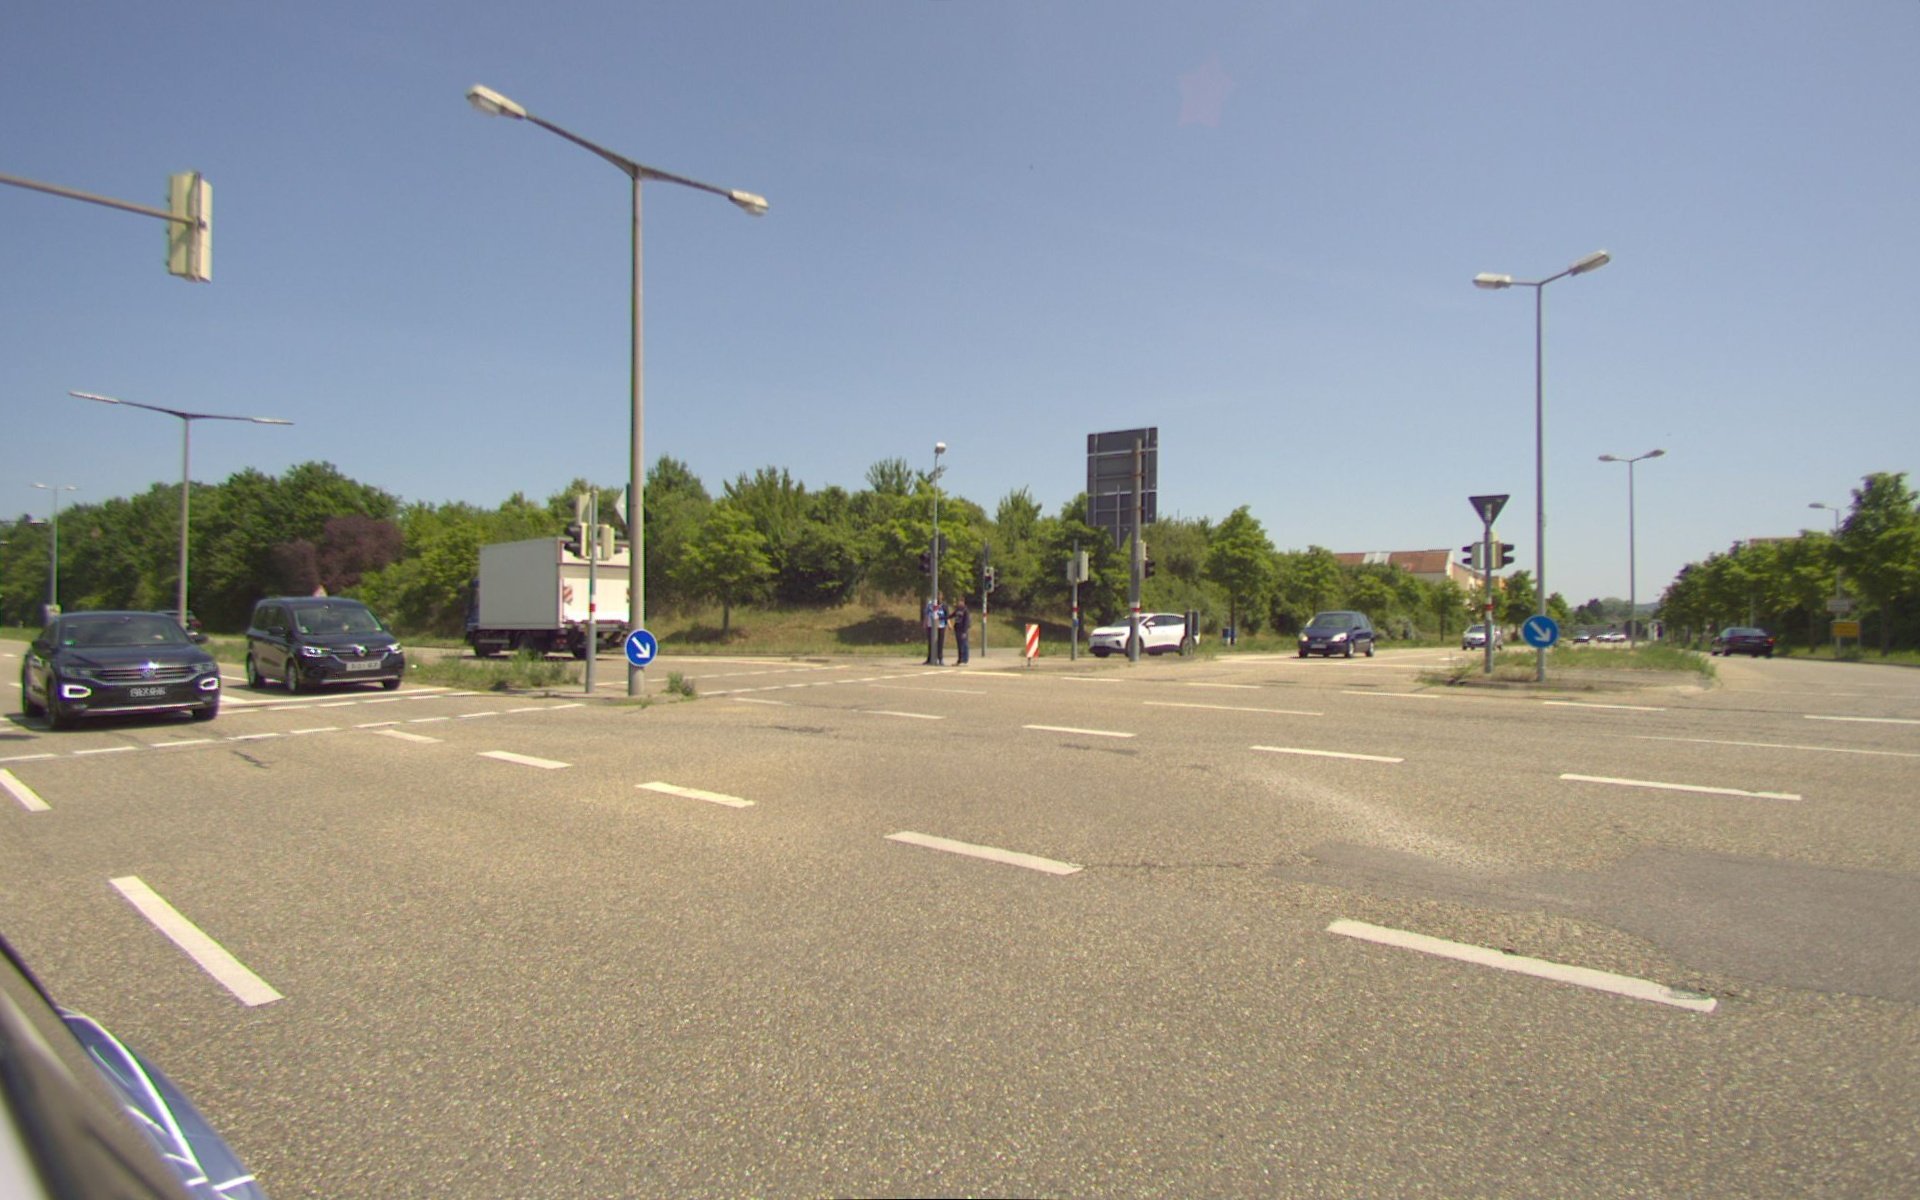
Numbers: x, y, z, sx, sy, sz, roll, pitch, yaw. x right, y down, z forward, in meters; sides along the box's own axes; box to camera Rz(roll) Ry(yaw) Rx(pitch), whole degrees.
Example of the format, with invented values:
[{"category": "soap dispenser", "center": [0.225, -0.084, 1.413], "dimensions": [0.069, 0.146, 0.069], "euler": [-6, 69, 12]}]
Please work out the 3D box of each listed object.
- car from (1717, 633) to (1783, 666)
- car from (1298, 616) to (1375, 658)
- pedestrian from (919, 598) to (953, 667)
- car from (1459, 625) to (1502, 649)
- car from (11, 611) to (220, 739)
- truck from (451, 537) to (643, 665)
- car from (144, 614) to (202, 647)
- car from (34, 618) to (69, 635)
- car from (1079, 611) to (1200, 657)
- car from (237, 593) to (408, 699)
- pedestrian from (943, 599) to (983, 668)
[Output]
[{"category": "car", "center": [36.044, 2.234, 46.265], "dimensions": [1.734, 1.431, 3.960], "euler": [-1, -2, 29]}, {"category": "car", "center": [13.072, 1.257, 35.018], "dimensions": [1.698, 1.346, 3.955], "euler": [-1, -2, 33]}, {"category": "pedestrian", "center": [-0.628, 0.842, 26.309], "dimensions": [0.573, 1.749, 0.795], "euler": [0, -1, -29]}, {"category": "car", "center": [30.181, 2.109, 58.650], "dimensions": [1.630, 1.371, 3.951], "euler": [-1, -2, 36]}, {"category": "car", "center": [-12.007, 0.939, 14.303], "dimensions": [3.969, 1.523, 1.716], "euler": [-1, 0, 42]}, {"category": "truck", "center": [-13.156, 0.084, 31.914], "dimensions": [7.264, 3.597, 2.659], "euler": [-1, -1, 41]}, {"category": "car", "center": [-41.385, 1.574, 53.178], "dimensions": [4.222, 1.676, 1.688], "euler": [-1, -2, 42]}, {"category": "car", "center": [-82.948, 2.425, 92.401], "dimensions": [4.165, 1.467, 1.804], "euler": [-1, -1, 40]}, {"category": "car", "center": [6.511, 1.266, 36.545], "dimensions": [4.238, 1.513, 1.883], "euler": [2, -5, -37]}, {"category": "car", "center": [-12.508, 0.838, 19.757], "dimensions": [4.320, 1.840, 1.713], "euler": [-1, -1, 42]}, {"category": "pedestrian", "center": [0.062, 0.831, 25.507], "dimensions": [0.712, 1.712, 0.777], "euler": [0, -1, -30]}]
